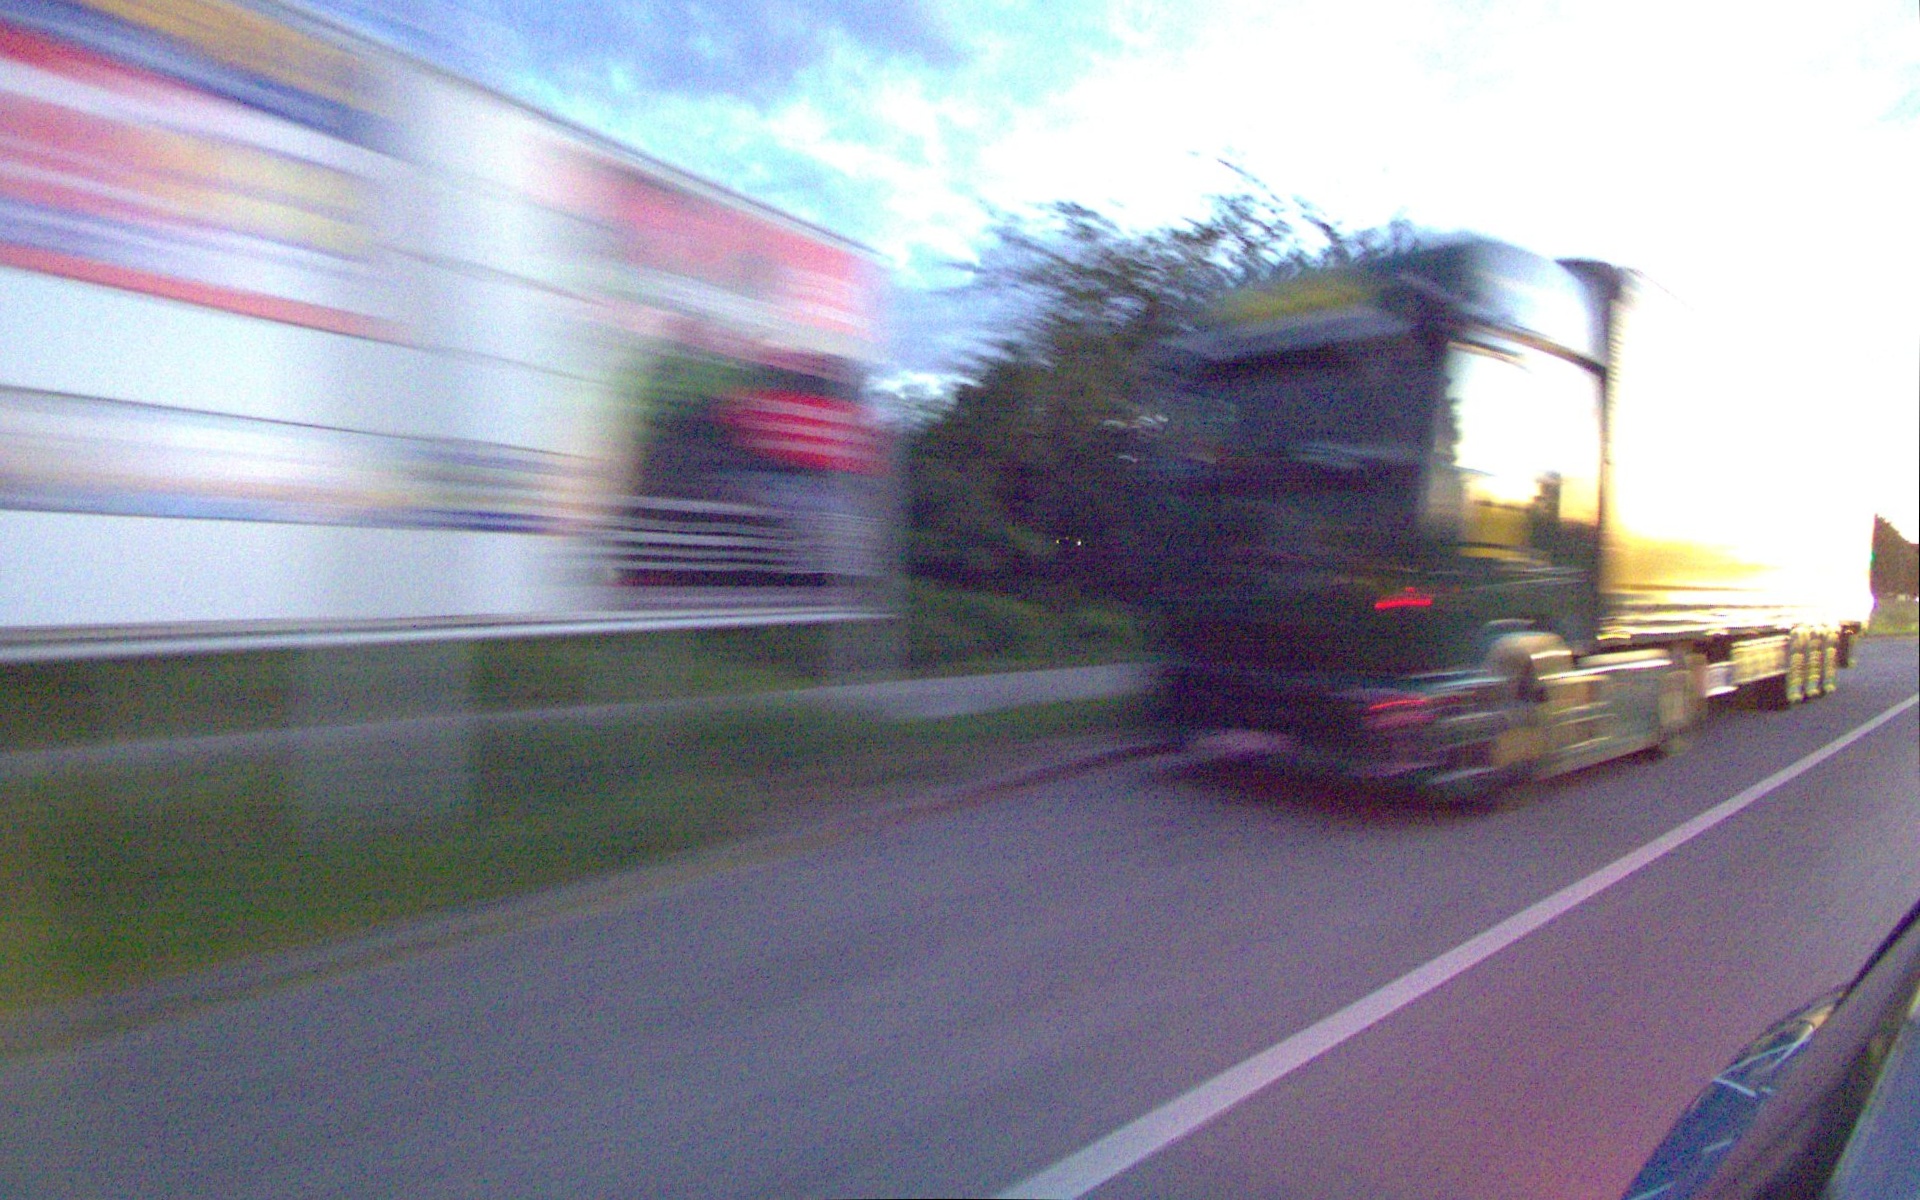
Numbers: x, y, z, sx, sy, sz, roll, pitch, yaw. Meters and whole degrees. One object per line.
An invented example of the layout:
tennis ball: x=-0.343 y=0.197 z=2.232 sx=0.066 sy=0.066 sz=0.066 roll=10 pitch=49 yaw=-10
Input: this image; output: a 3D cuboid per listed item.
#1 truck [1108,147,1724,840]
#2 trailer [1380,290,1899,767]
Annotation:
truck: x=3.973 y=-0.640 z=8.308 sx=5.401 sy=3.847 sz=2.490 roll=-1 pitch=1 yaw=-40
trailer: x=9.688 y=-0.656 z=13.225 sx=12.450 sy=3.859 sz=2.473 roll=-1 pitch=1 yaw=-41
